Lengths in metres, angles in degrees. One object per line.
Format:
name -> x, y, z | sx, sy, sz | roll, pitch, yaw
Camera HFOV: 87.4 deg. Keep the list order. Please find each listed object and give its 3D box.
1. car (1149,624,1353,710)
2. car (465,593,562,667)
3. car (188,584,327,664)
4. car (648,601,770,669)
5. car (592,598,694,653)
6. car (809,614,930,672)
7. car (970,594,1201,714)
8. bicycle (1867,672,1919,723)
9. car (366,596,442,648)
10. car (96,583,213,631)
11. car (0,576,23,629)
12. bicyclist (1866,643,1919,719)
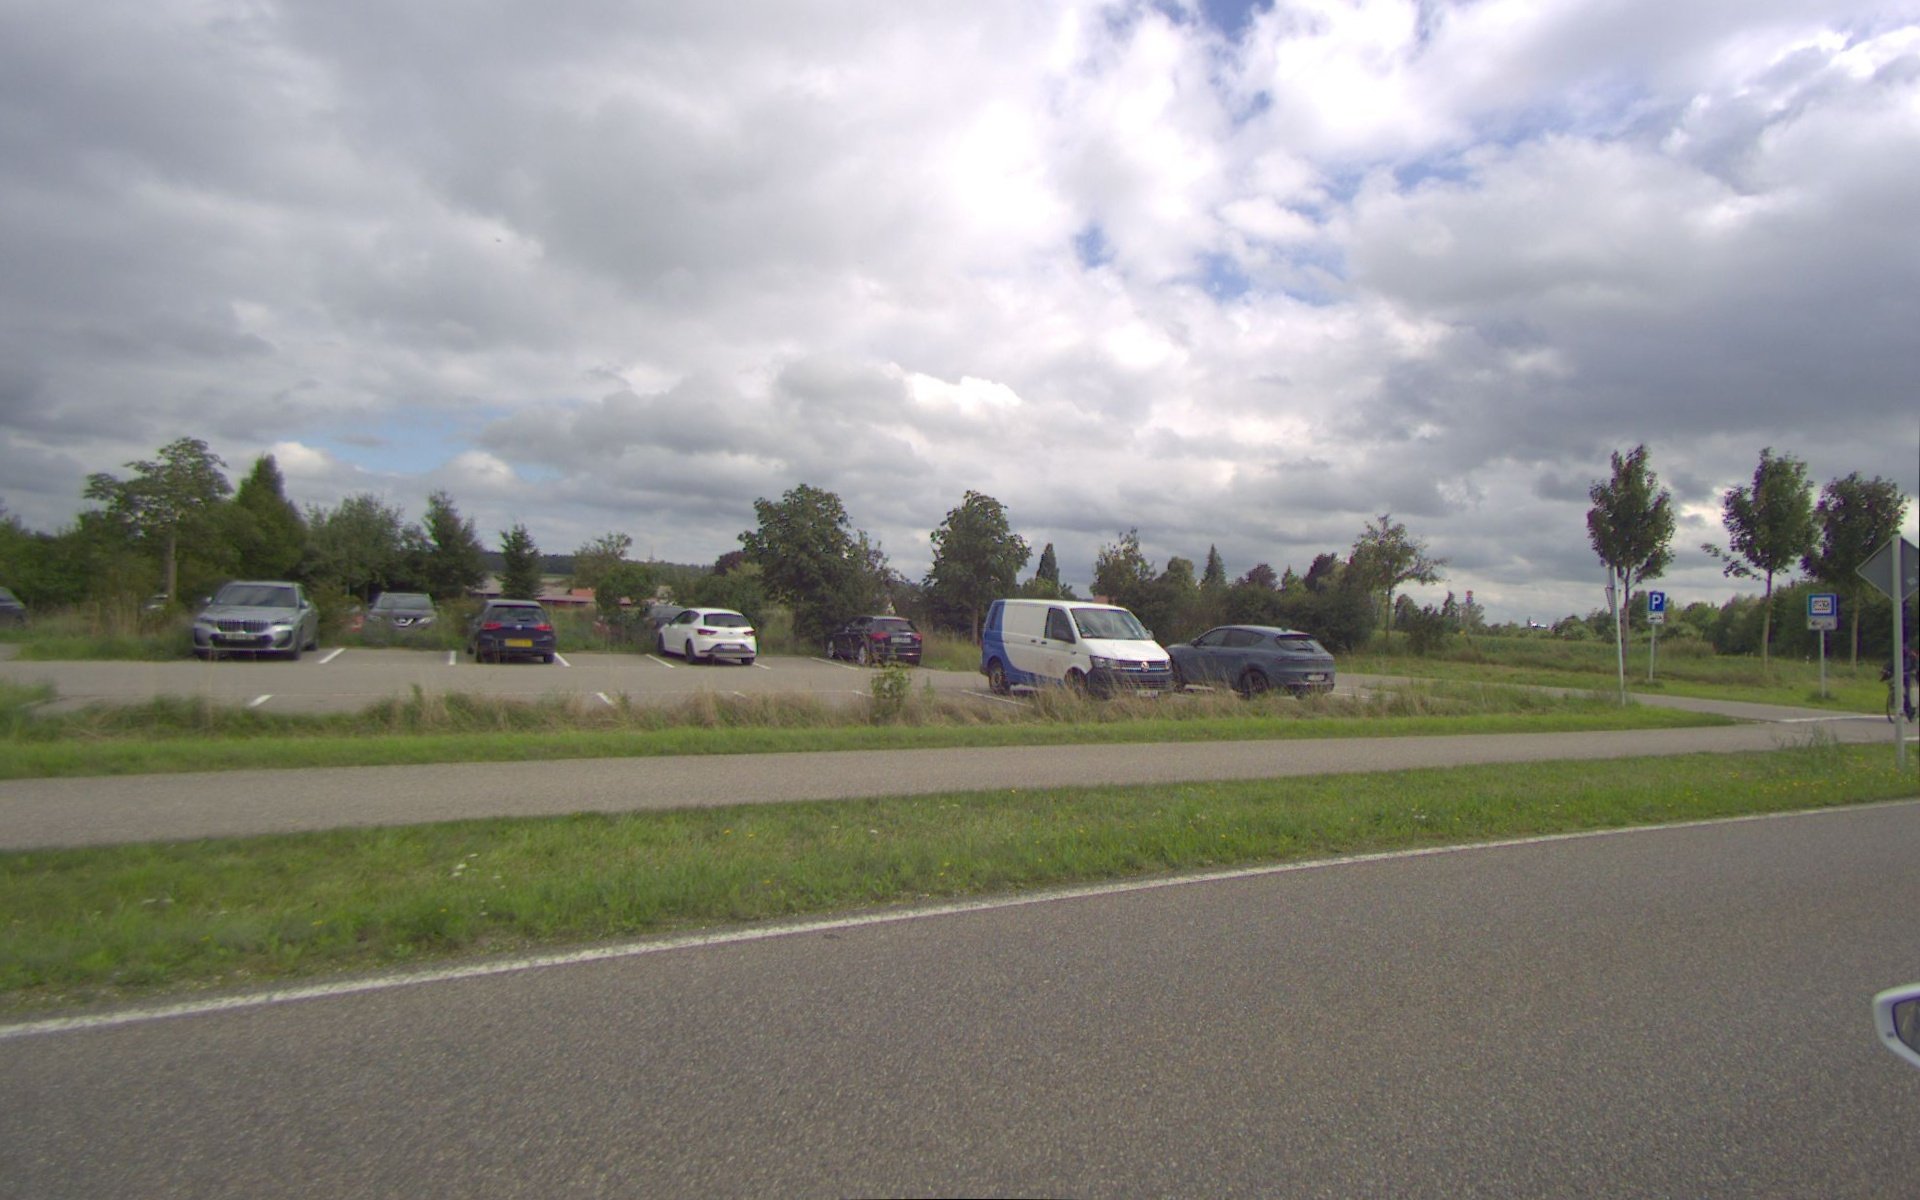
car -> 6.331, 1.411, 22.334 | 1.975, 1.616, 4.232 | 2, -1, -27
car -> -11.073, 0.686, 24.776 | 1.941, 1.572, 3.971 | 2, 0, -27
car -> -15.379, 0.480, 22.209 | 1.941, 1.572, 3.972 | 2, 0, -27
car -> -6.900, 0.917, 27.307 | 1.946, 1.572, 3.961 | 2, 0, -34
car -> -9.851, 0.769, 31.515 | 1.741, 1.546, 3.796 | 2, -1, 3
car -> -2.735, 1.234, 29.609 | 1.823, 1.406, 3.961 | 2, 0, -34
car -> 2.274, 0.948, 19.762 | 2.031, 2.040, 4.873 | 2, -1, -28
bicycle -> 20.889, 2.129, 22.101 | 2.162, 1.045, 0.633 | 2, -1, -26
car -> -15.908, 0.612, 28.794 | 1.755, 1.357, 3.765 | 2, -1, -29
car -> -26.079, 0.207, 32.684 | 1.938, 1.392, 3.977 | 2, -1, -23
car -> -32.052, 0.001, 30.770 | 4.379, 1.644, 1.993 | 2, -1, -17
bicyclist -> 20.742, 1.776, 22.098 | 1.041, 1.586, 0.828 | 2, -1, -24
